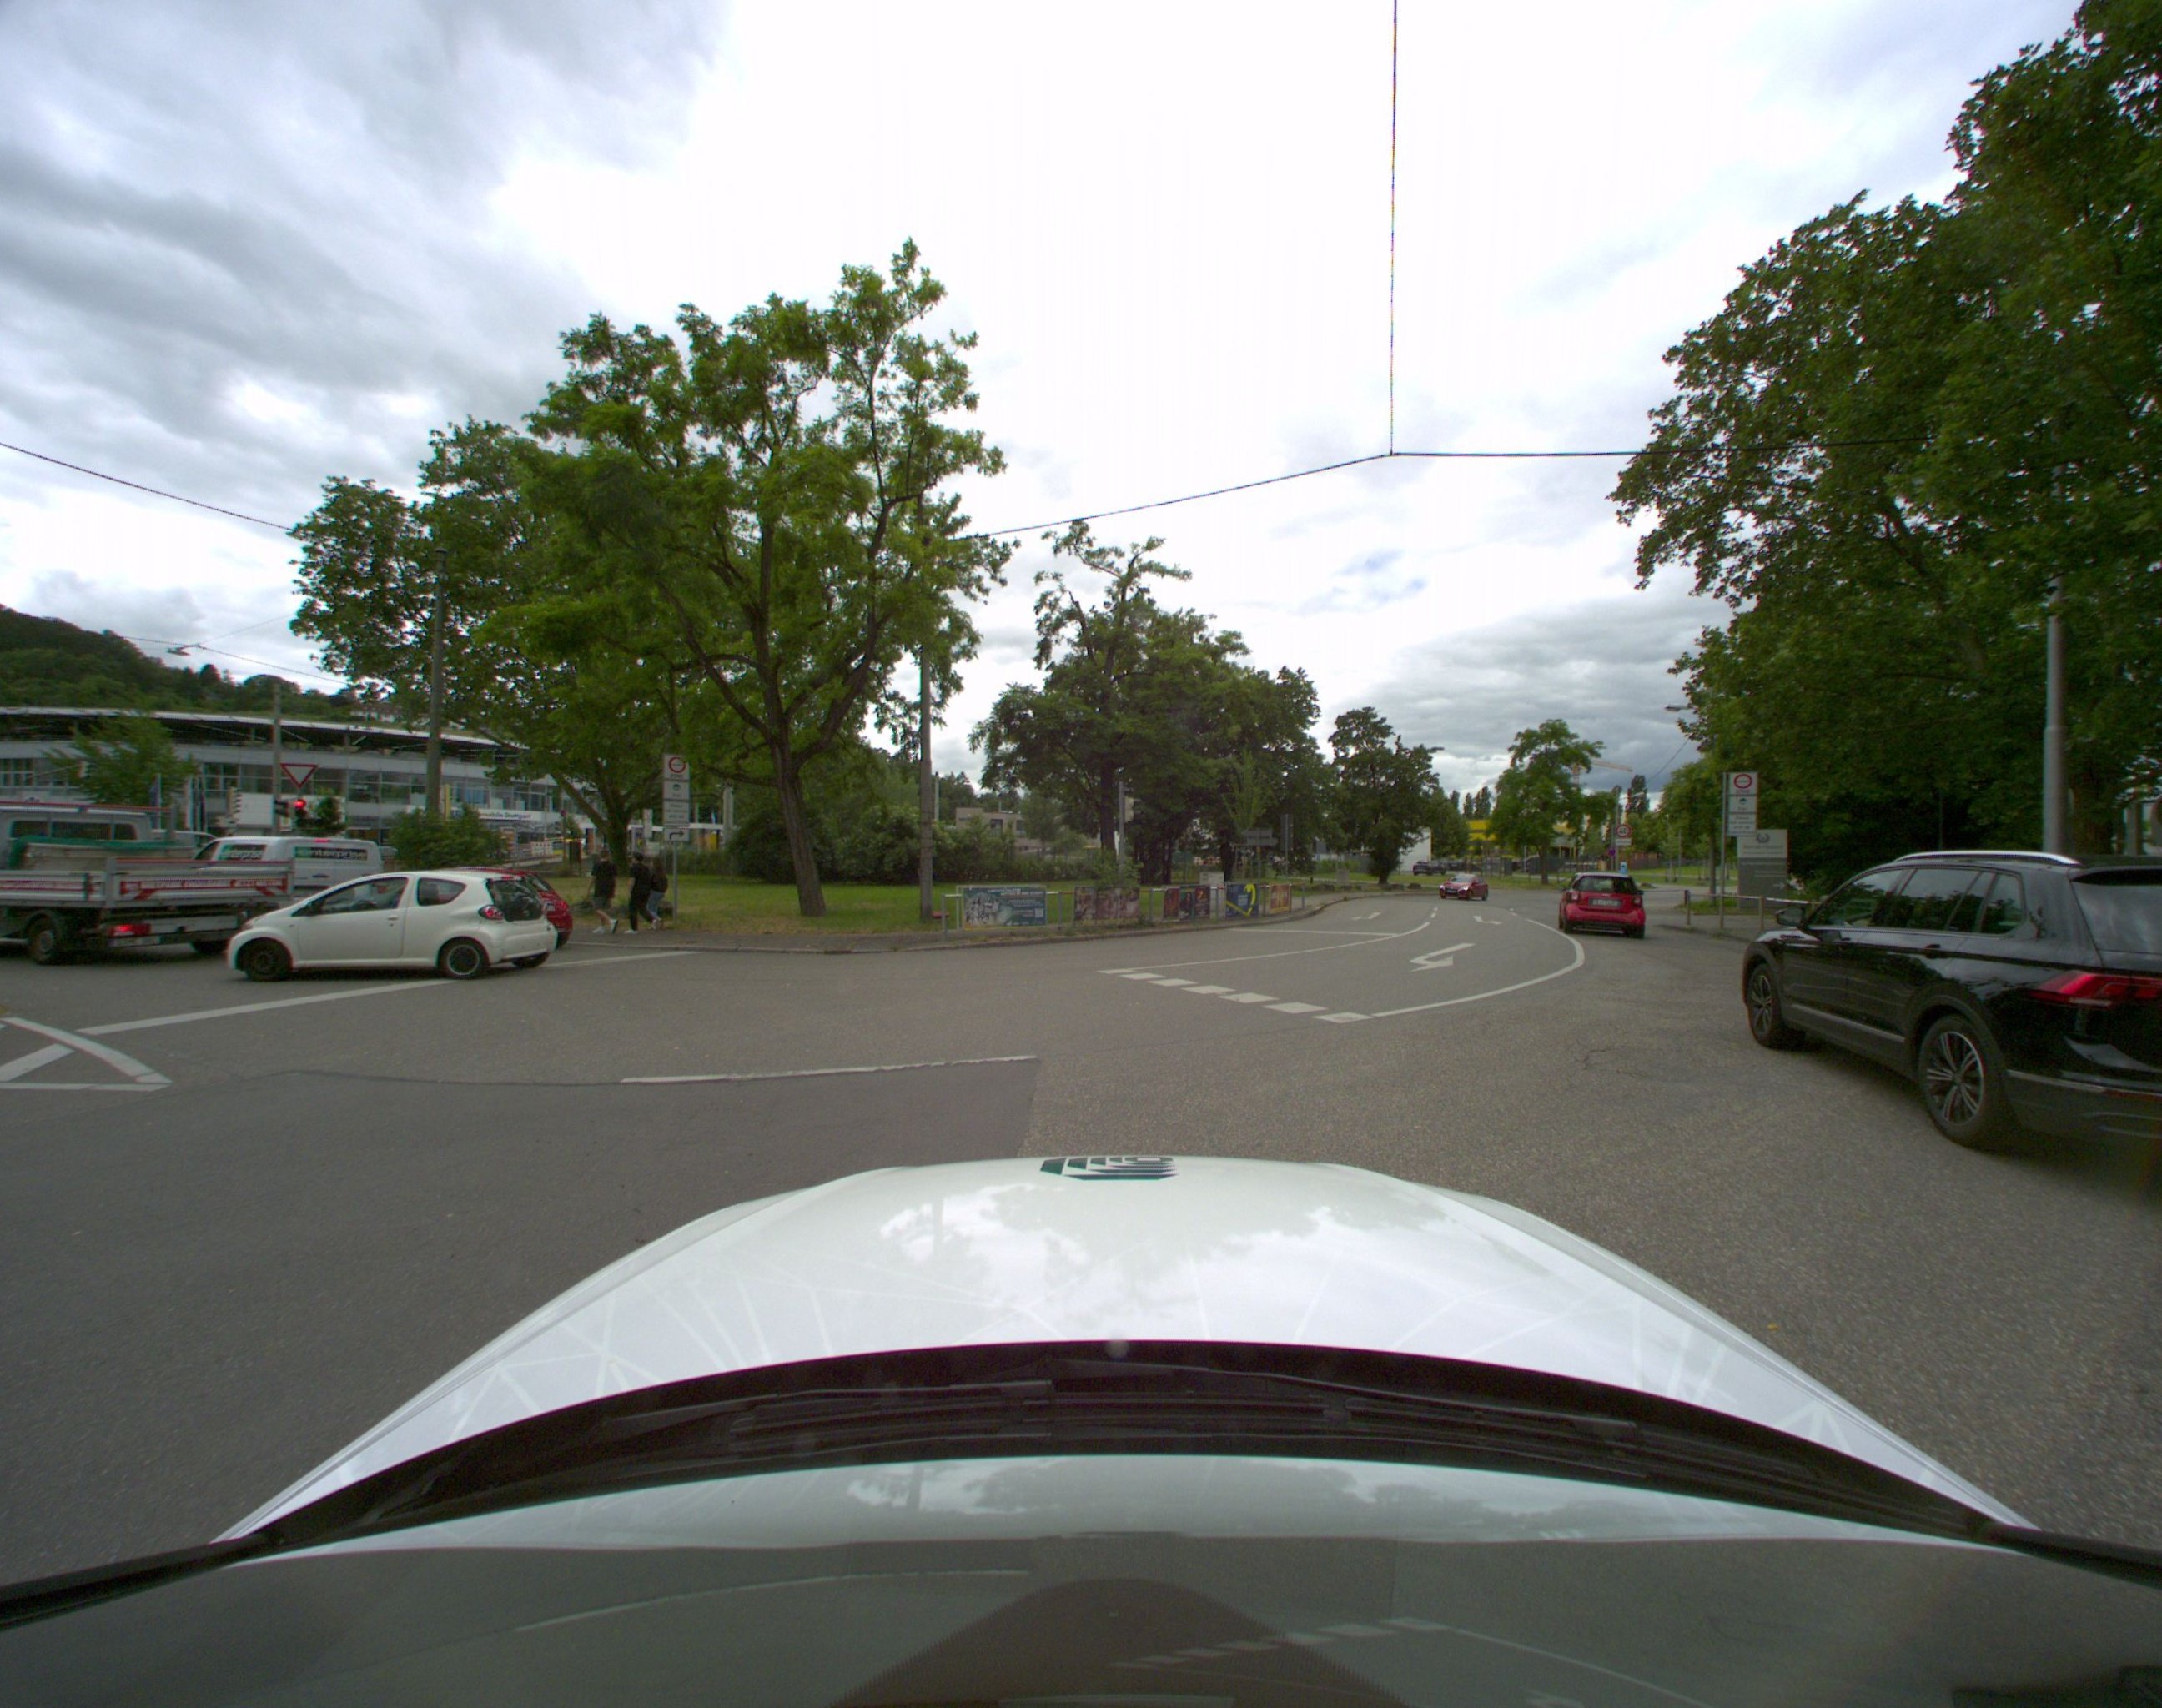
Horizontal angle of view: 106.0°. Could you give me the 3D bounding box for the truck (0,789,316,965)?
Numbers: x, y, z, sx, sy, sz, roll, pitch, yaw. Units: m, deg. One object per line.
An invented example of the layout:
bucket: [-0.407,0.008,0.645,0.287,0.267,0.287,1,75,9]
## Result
truck: [-15.833,0.297,12.922,5.967,2.397,2.438,0,0,13]

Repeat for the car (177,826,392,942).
car: [-16.595,0.538,16.920,4.700,2.107,2.008,0,0,30]

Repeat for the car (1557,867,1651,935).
car: [12.876,1.101,20.221,1.695,1.464,3.038,0,0,27]

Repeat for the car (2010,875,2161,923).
car: [35.028,1.537,28.080,3.686,1.505,1.489,0,0,21]

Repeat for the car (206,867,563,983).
car: [-9.440,0.910,11.294,3.414,1.432,1.641,0,0,-5]

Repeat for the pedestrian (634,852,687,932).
pedestrian: [-9.326,0.821,18.076,0.781,1.740,0.697,0,0,8]

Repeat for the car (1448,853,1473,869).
car: [49.940,0.908,107.203,1.945,2.013,4.245,1,0,40]

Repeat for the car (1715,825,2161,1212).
car: [5.908,0.709,5.193,1.828,1.635,4.208,2,1,22]

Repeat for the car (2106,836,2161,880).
car: [51.783,0.187,37.853,4.764,2.013,2.011,0,0,25]

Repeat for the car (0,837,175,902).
car: [-33.786,0.467,26.560,1.952,2.013,5.321,1,0,14]

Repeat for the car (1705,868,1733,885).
car: [60.194,2.080,76.863,2.021,1.536,3.967,0,0,38]

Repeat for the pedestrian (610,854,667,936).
pedestrian: [-9.379,0.851,17.283,0.781,1.714,0.697,0,0,8]

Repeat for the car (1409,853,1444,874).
car: [34.032,0.939,80.073,1.945,2.013,4.245,1,0,40]

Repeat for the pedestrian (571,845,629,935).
pedestrian: [-10.190,0.737,17.258,0.781,1.857,0.697,0,0,8]

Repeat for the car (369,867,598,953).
car: [-11.099,0.983,15.207,3.394,1.457,1.651,0,-1,15]

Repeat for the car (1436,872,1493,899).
car: [21.977,1.799,46.634,3.857,1.466,1.712,1,-2,-45]
